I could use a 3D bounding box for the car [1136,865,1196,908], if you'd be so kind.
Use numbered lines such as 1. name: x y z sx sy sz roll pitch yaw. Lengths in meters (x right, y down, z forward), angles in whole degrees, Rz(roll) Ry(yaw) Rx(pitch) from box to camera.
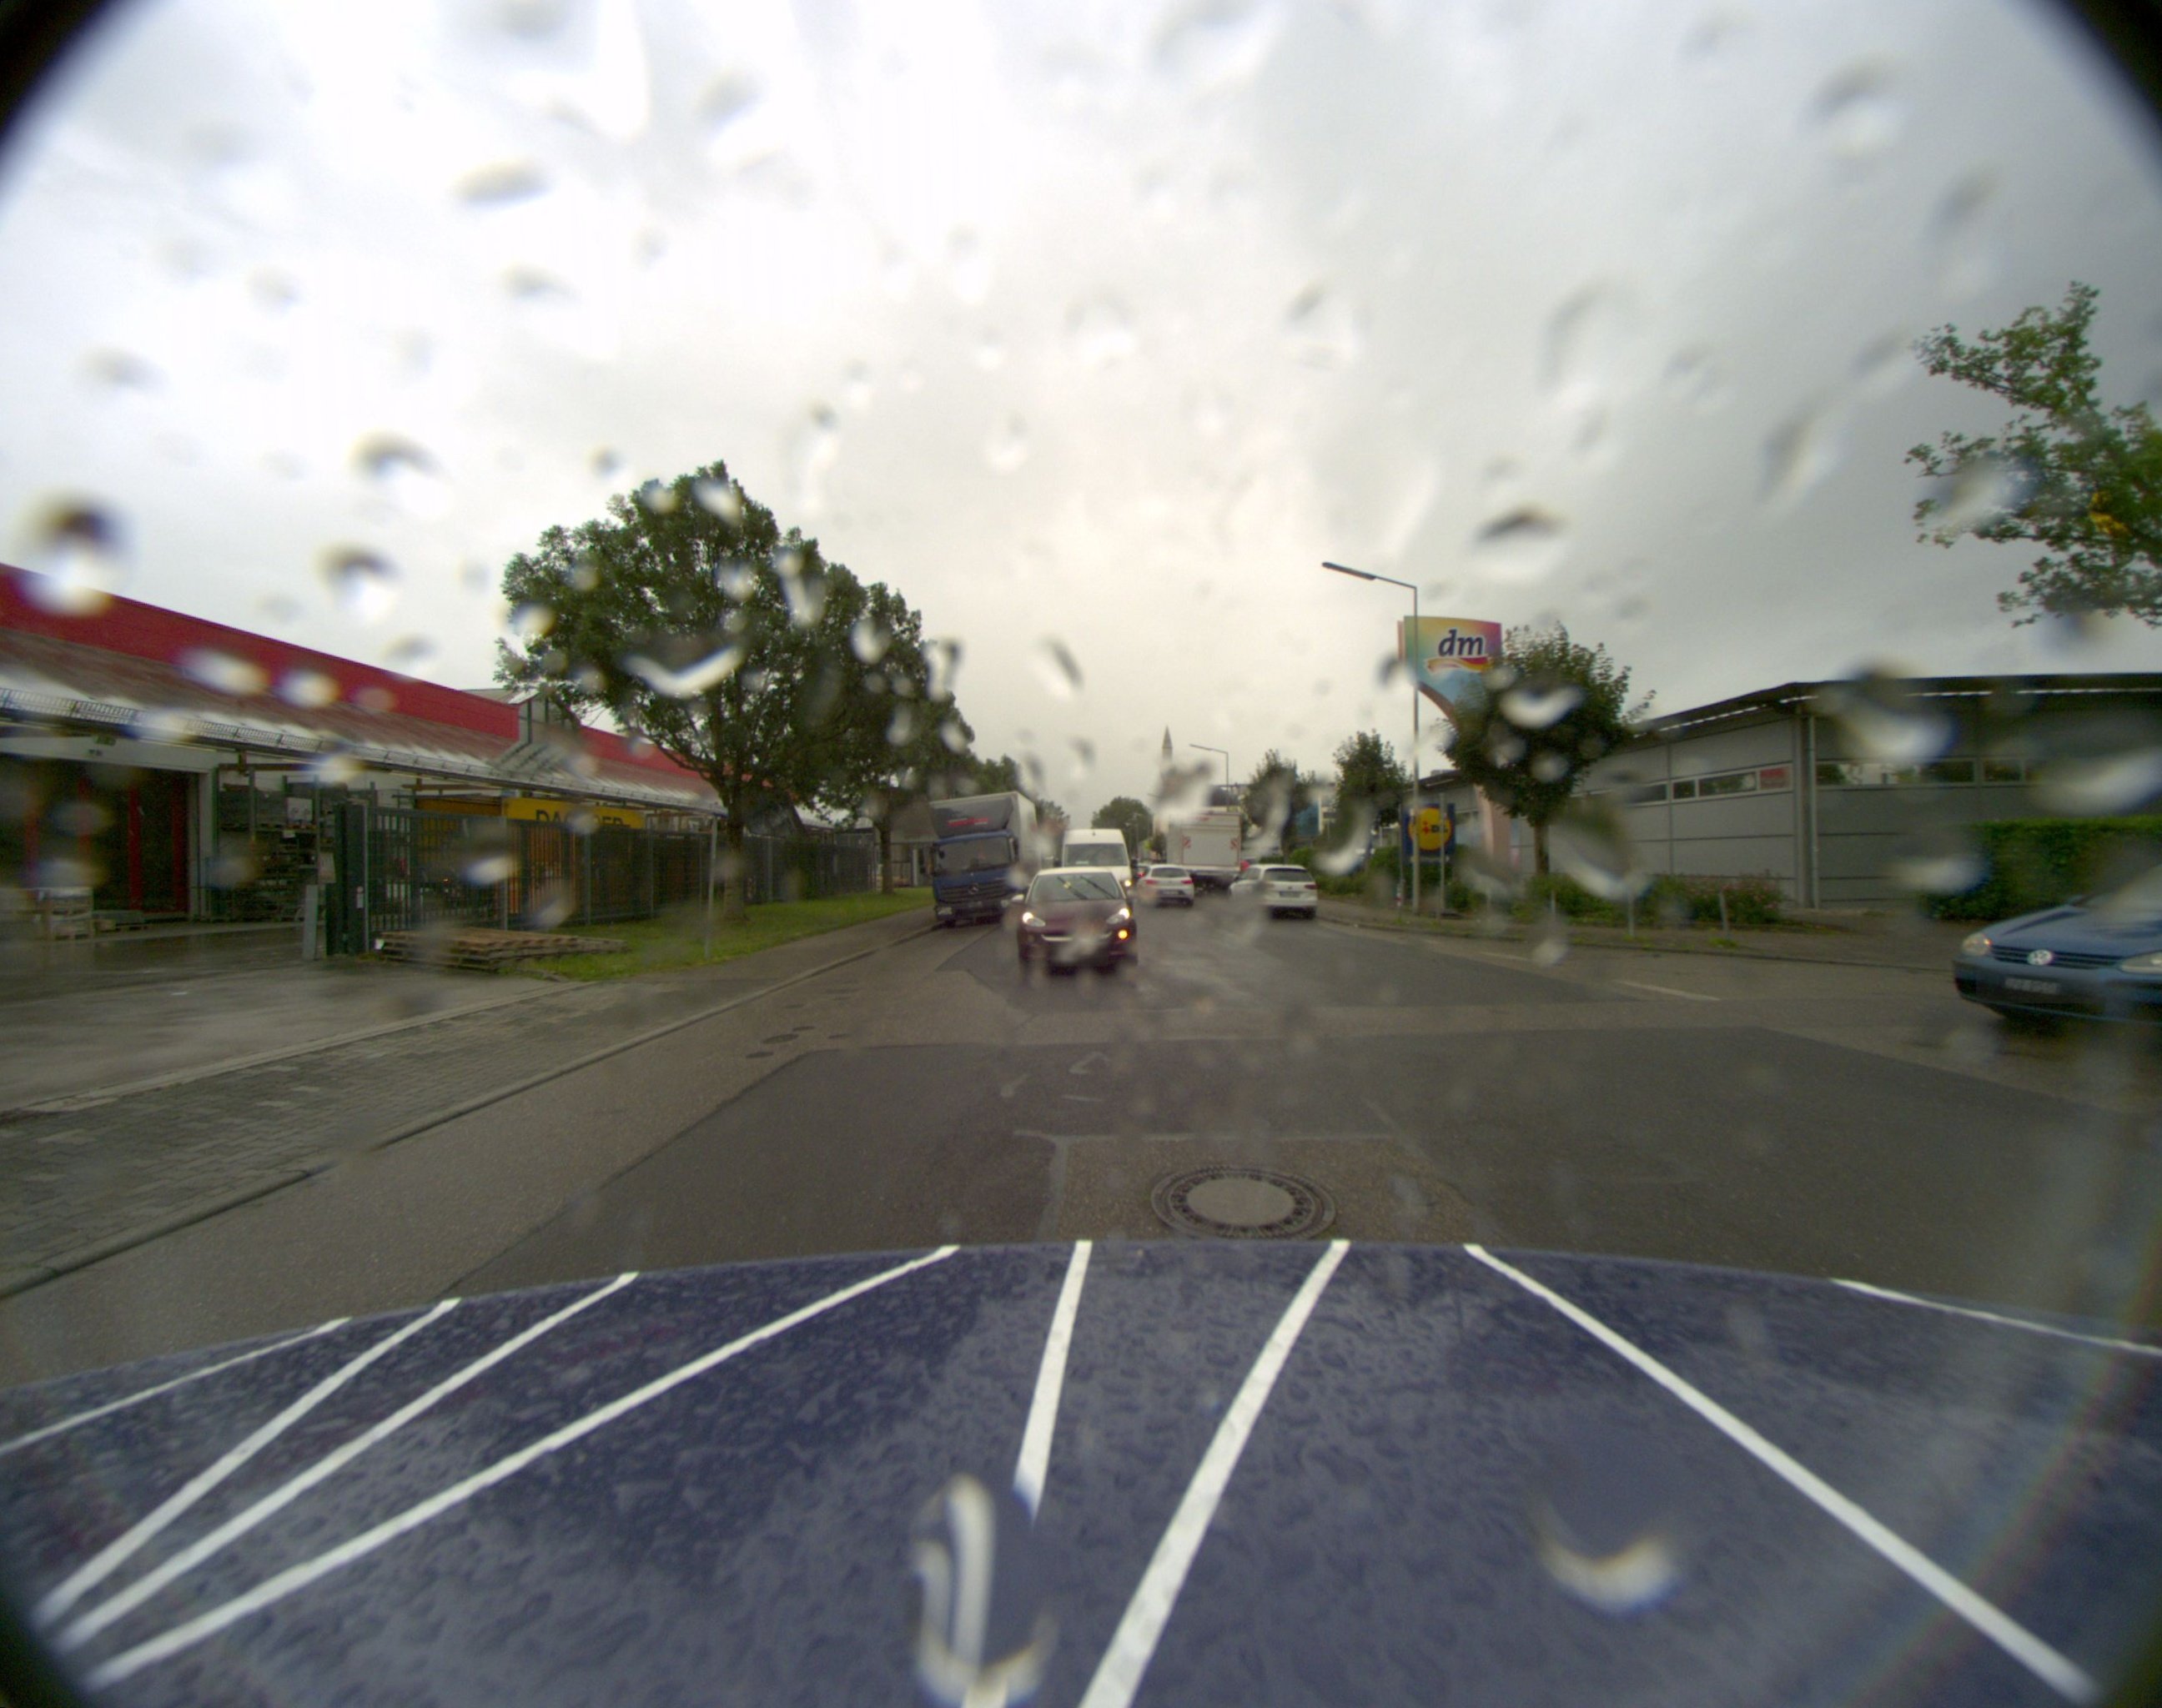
1. car: 2.970 1.111 27.354 1.735 1.432 4.000 0 -1 0

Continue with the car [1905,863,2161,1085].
1. car: 9.035 0.784 5.607 3.997 1.432 1.736 0 -1 1

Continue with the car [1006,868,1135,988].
1. car: -0.118 1.009 11.785 1.637 1.446 3.578 -3 0 0

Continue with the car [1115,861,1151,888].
1. car: 2.852 1.127 42.401 1.735 1.432 4.000 0 -1 0

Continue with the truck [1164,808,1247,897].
1. truck: 5.707 -0.031 36.146 2.888 3.724 7.869 -1 0 2

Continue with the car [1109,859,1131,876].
1. car: 3.395 1.175 66.414 1.615 1.430 3.407 0 0 -2

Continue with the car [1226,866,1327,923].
1. car: 5.445 1.075 21.734 1.840 1.426 4.492 0 0 2

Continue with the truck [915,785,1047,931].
1. truck: -2.781 0.133 23.873 2.678 3.670 8.010 -4 0 1

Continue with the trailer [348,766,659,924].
1. trailer: -18.249 -0.213 25.289 2.974 4.217 9.472 -1 0 1

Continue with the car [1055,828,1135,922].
1. car: 0.461 0.579 22.912 2.084 2.466 5.348 -1 0 2
